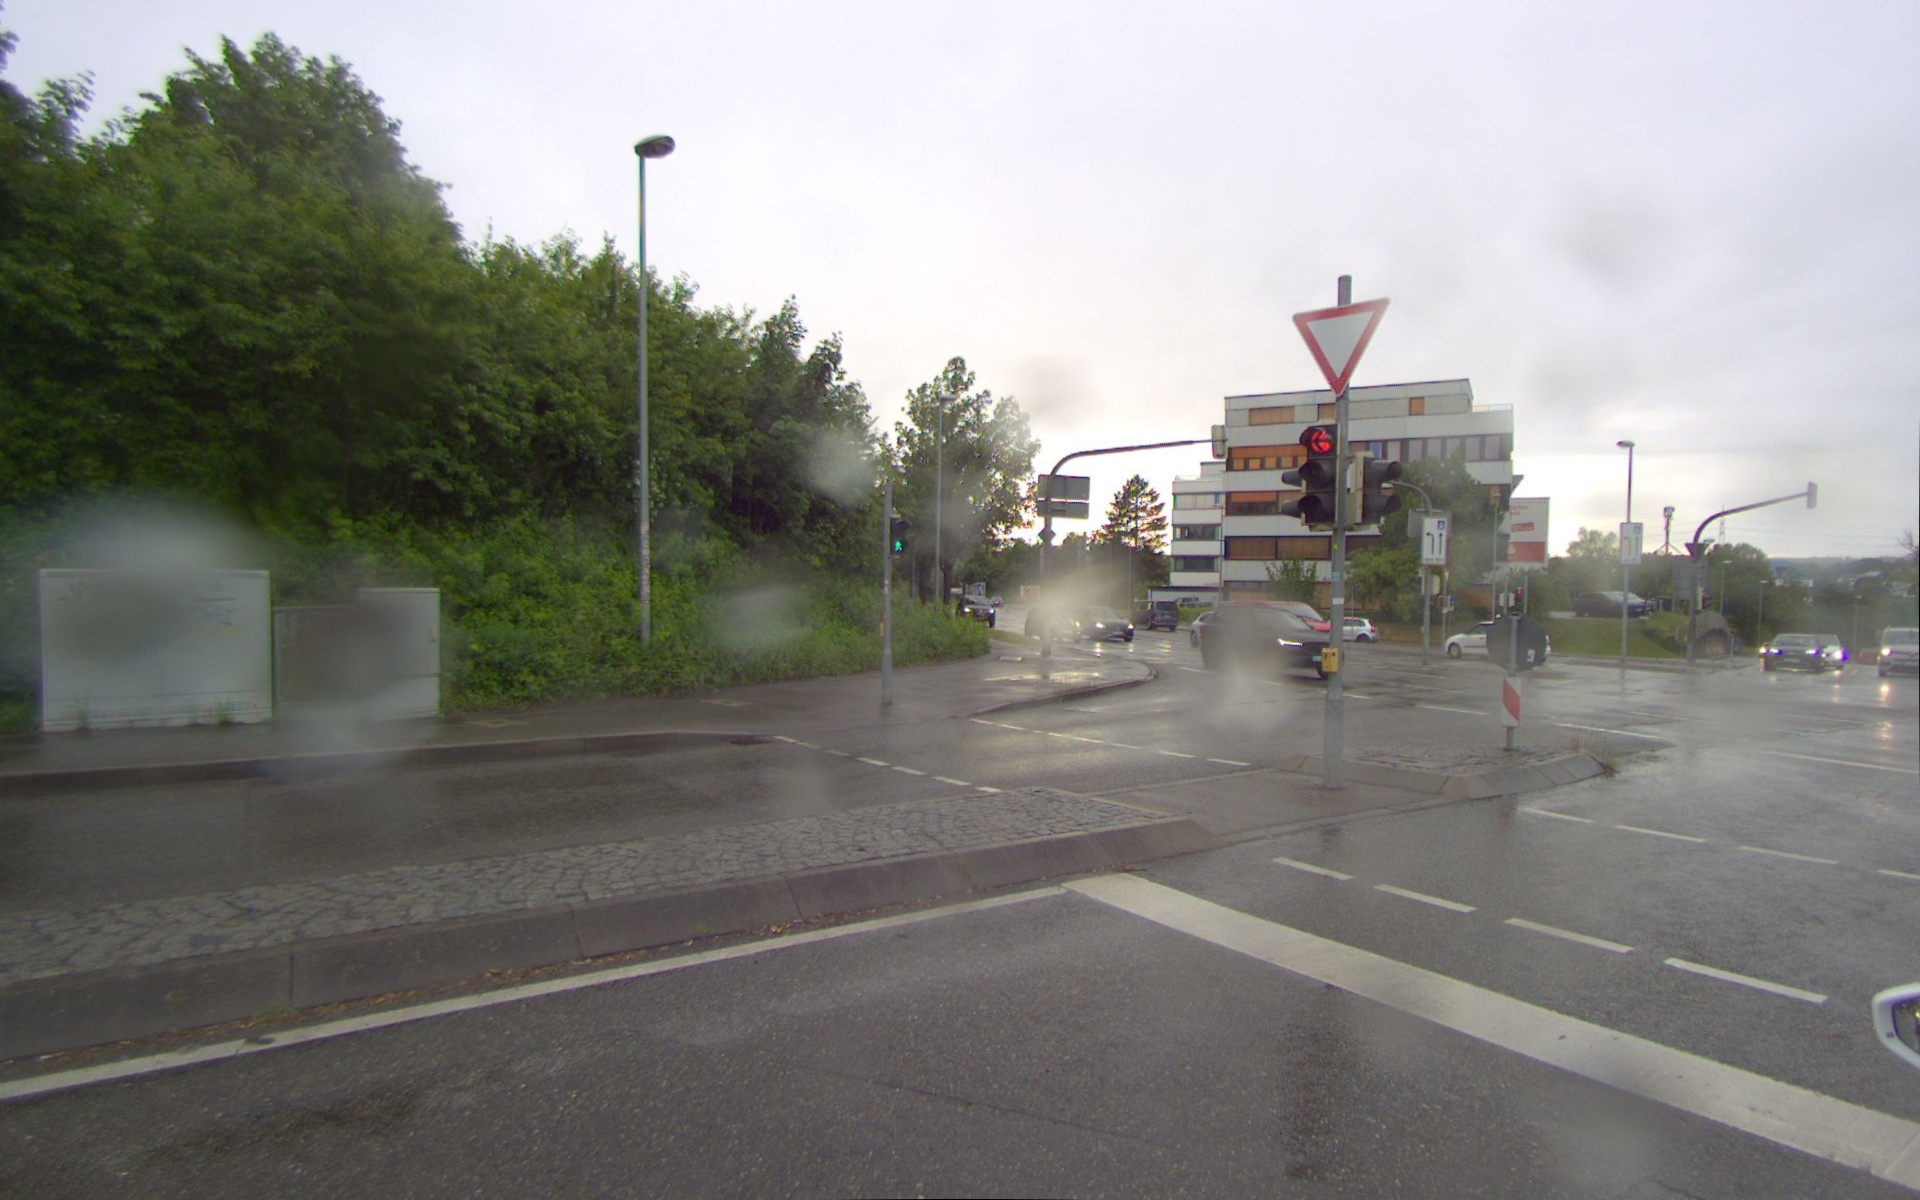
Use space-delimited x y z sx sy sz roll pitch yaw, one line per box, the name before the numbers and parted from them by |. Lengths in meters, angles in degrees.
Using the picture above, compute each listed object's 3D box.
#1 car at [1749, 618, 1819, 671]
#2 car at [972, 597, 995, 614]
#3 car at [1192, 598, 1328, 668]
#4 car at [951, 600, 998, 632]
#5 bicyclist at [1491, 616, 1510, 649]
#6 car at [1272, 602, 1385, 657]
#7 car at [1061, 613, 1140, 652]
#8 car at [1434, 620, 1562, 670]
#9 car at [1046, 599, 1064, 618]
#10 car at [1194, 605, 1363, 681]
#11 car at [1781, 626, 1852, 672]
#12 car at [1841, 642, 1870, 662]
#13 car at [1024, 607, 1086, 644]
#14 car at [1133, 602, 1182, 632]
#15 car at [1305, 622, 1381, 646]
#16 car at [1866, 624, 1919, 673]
car | 33.345 1.744 40.597 1.971 1.920 3.978 2 1 42
car | 2.201 0.550 96.695 1.810 1.534 3.997 1 0 -4
car | 9.521 0.992 32.339 1.967 2.040 4.772 1 0 -15
car | 0.805 0.901 58.839 1.963 1.725 4.604 1 1 -9
bicyclist | 24.587 1.475 45.719 0.597 1.465 0.539 1 1 -36
car | 13.644 1.058 37.489 1.966 1.865 4.143 1 1 -14
car | 6.166 1.417 44.789 1.965 1.496 4.662 1 1 -13
car | 20.162 1.654 37.811 1.927 1.617 3.982 1 1 -19
car | 11.193 0.958 118.099 1.959 2.041 5.015 1 1 7
car | 7.948 1.016 25.609 2.000 1.701 4.619 1 0 -14
car | 38.938 2.178 45.637 3.971 1.920 1.975 1 1 -43
car | 78.582 4.522 88.176 1.594 1.468 3.791 3 3 37
car | 3.907 1.041 41.871 1.651 1.405 3.454 1 1 -10
car | 13.106 1.114 66.780 1.963 1.873 3.994 1 1 -8
car | 20.483 1.815 53.764 3.456 1.120 1.815 2 1 34
car | 34.851 1.750 36.997 3.974 1.639 1.973 1 1 -45
